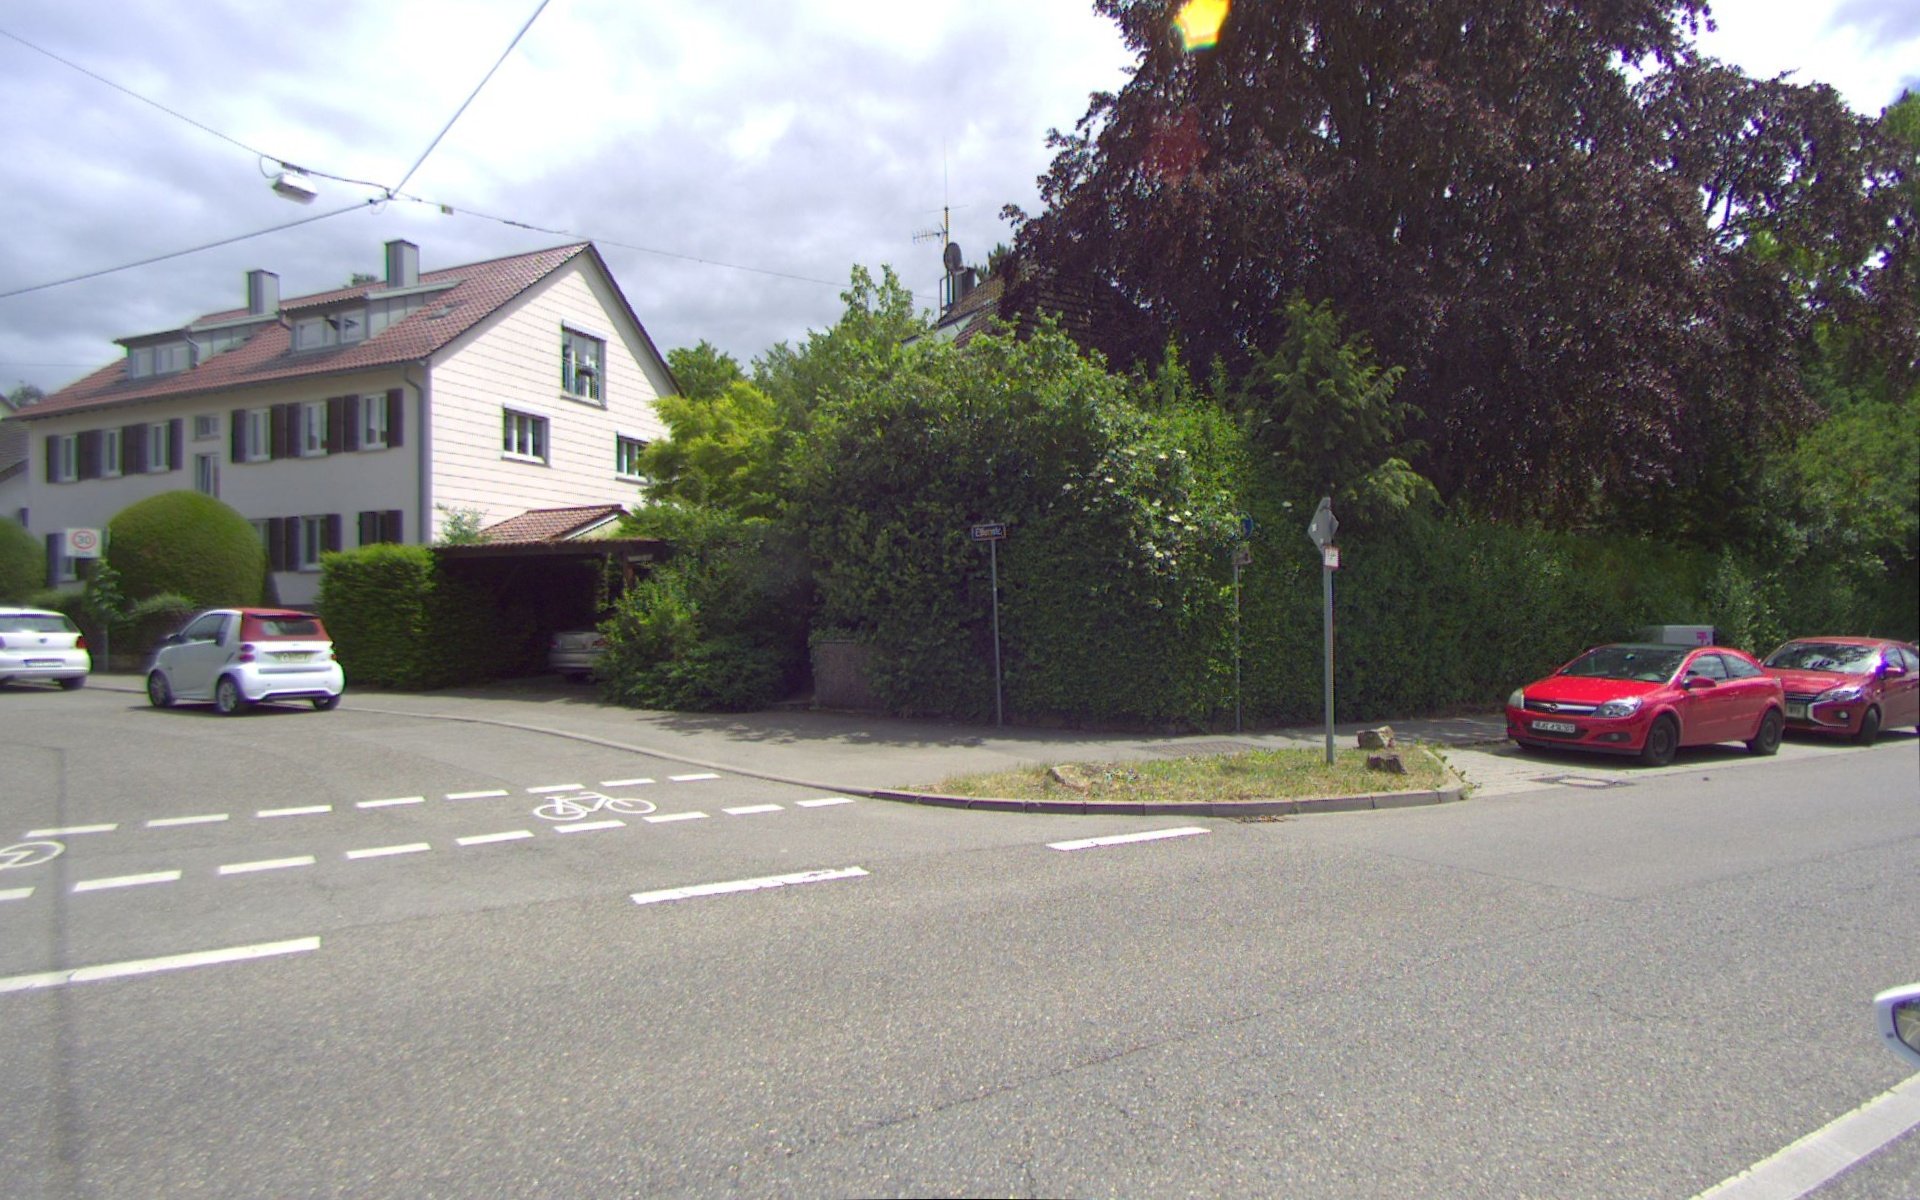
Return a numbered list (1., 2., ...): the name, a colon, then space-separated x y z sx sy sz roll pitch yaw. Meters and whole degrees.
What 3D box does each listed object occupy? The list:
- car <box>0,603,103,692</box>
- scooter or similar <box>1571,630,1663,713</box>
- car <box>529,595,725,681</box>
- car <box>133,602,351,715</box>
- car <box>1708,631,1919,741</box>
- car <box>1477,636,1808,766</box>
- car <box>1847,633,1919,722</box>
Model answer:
1. car: -17.586 0.801 18.230 3.467 1.474 1.715 1 -1 23
2. scooter or similar: 11.806 1.256 18.040 1.627 1.431 0.668 1 0 -27
3. car: -6.564 0.708 20.275 1.694 1.530 4.000 0 -1 19
4. car: -11.179 0.855 15.671 2.725 1.576 1.589 1 -1 24
5. car: 13.520 1.250 15.506 4.055 1.470 1.642 1 -1 -29
6. car: 8.905 1.201 13.027 4.509 1.396 1.654 1 -1 -28
7. car: 17.681 1.352 17.928 3.550 1.470 1.589 1 -1 -27
